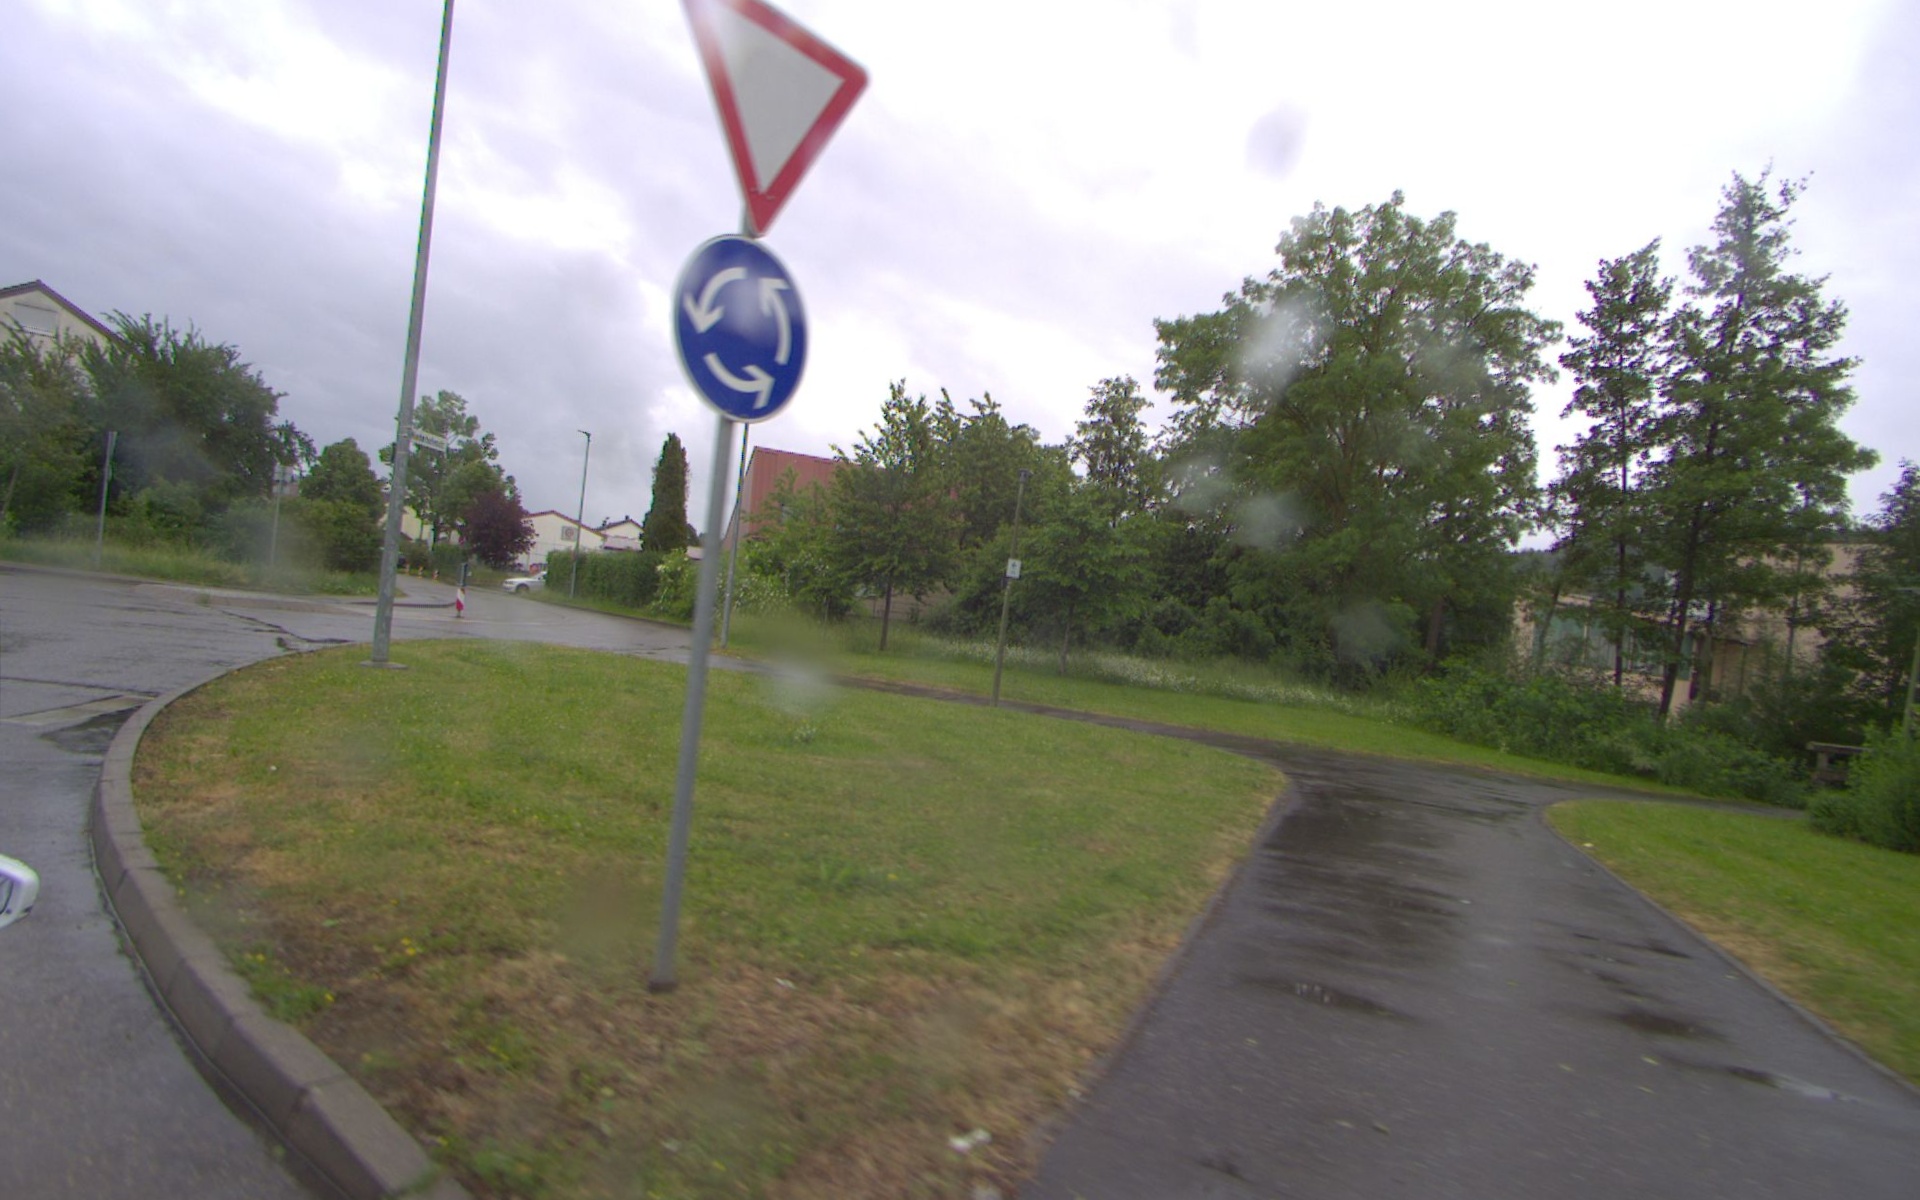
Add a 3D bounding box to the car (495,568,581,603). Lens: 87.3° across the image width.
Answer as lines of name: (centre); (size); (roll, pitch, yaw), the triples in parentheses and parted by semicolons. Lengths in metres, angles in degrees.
car: (-23.174, -0.800, 55.358); (3.967, 1.390, 1.766); (8, -2, -38)
